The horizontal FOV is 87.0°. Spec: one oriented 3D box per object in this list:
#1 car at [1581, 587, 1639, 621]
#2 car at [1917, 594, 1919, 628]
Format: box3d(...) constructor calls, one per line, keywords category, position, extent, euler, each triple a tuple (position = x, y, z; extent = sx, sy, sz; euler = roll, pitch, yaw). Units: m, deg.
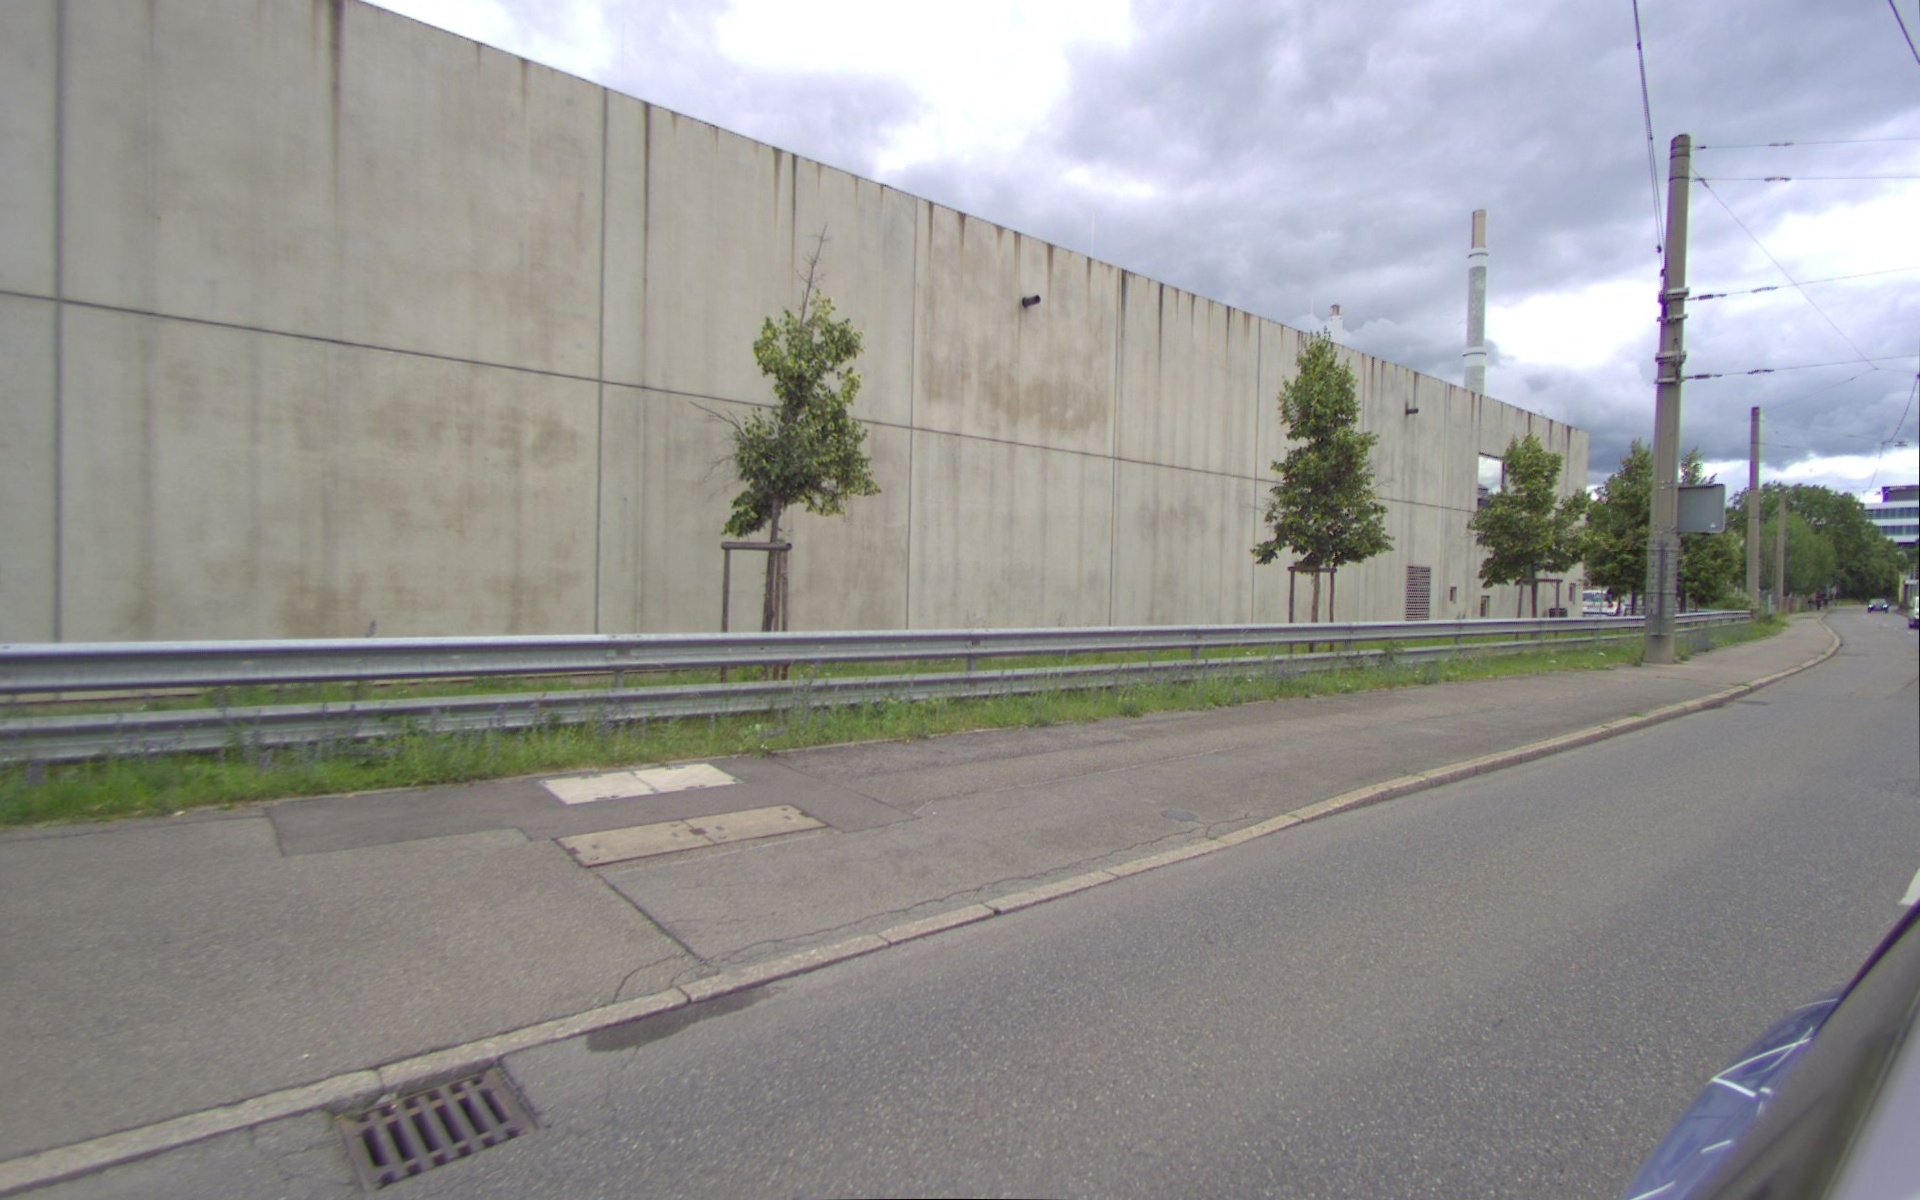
box3d(category="car", position=(32.076, 0.205, 49.879), extent=(1.748, 1.594, 4.362), euler=(0, -1, 42))
box3d(category="car", position=(53.851, 0.636, 55.234), extent=(1.991, 1.916, 4.560), euler=(2, 2, 40))
